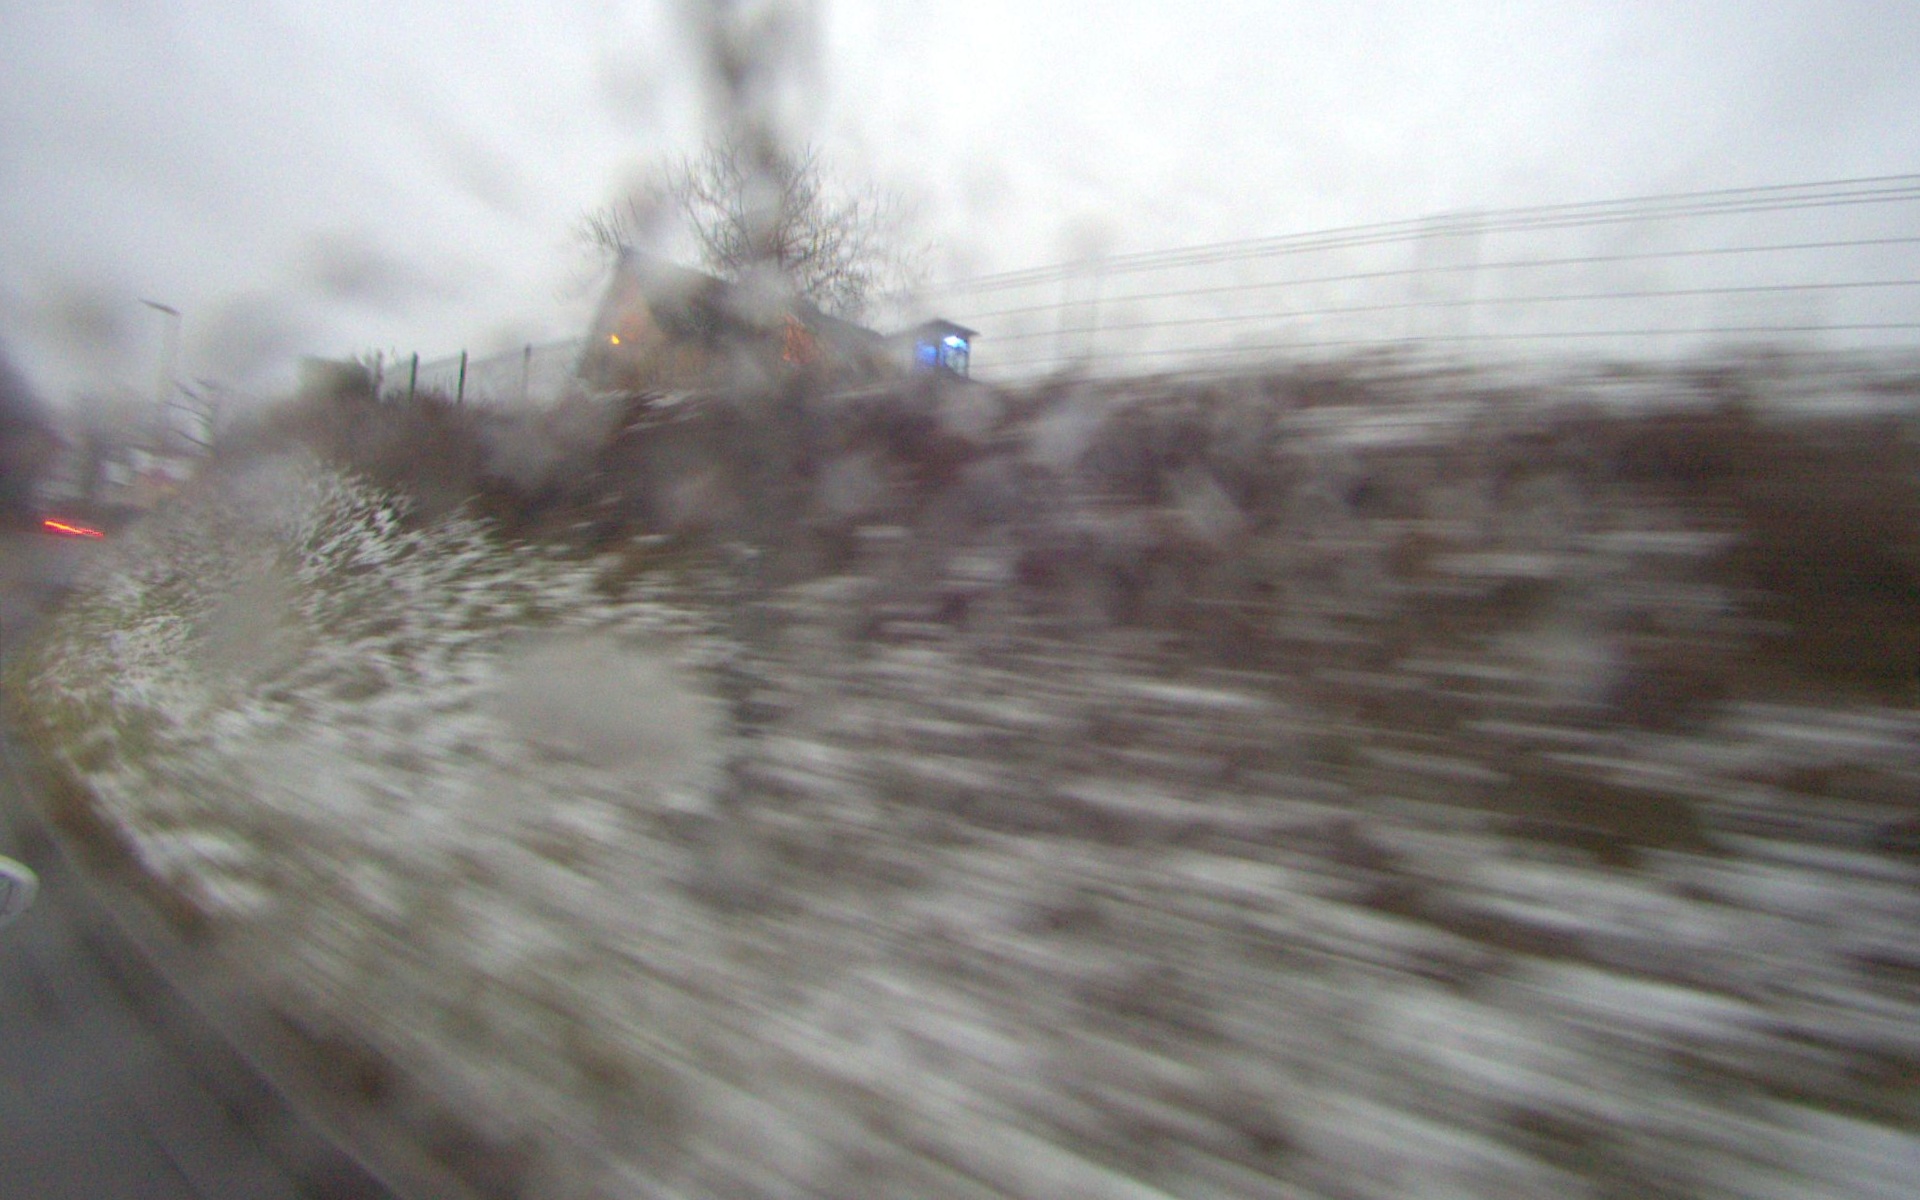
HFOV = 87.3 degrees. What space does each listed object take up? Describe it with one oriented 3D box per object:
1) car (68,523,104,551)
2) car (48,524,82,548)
[{"bbox_3d":[-68.884,-4.934,79.314,1.799,1.756,3.960,11,-6,-39],"label":"car"},{"bbox_3d":[-78.261,-5.599,88.002,1.799,1.634,3.960,11,-6,-39],"label":"car"}]
